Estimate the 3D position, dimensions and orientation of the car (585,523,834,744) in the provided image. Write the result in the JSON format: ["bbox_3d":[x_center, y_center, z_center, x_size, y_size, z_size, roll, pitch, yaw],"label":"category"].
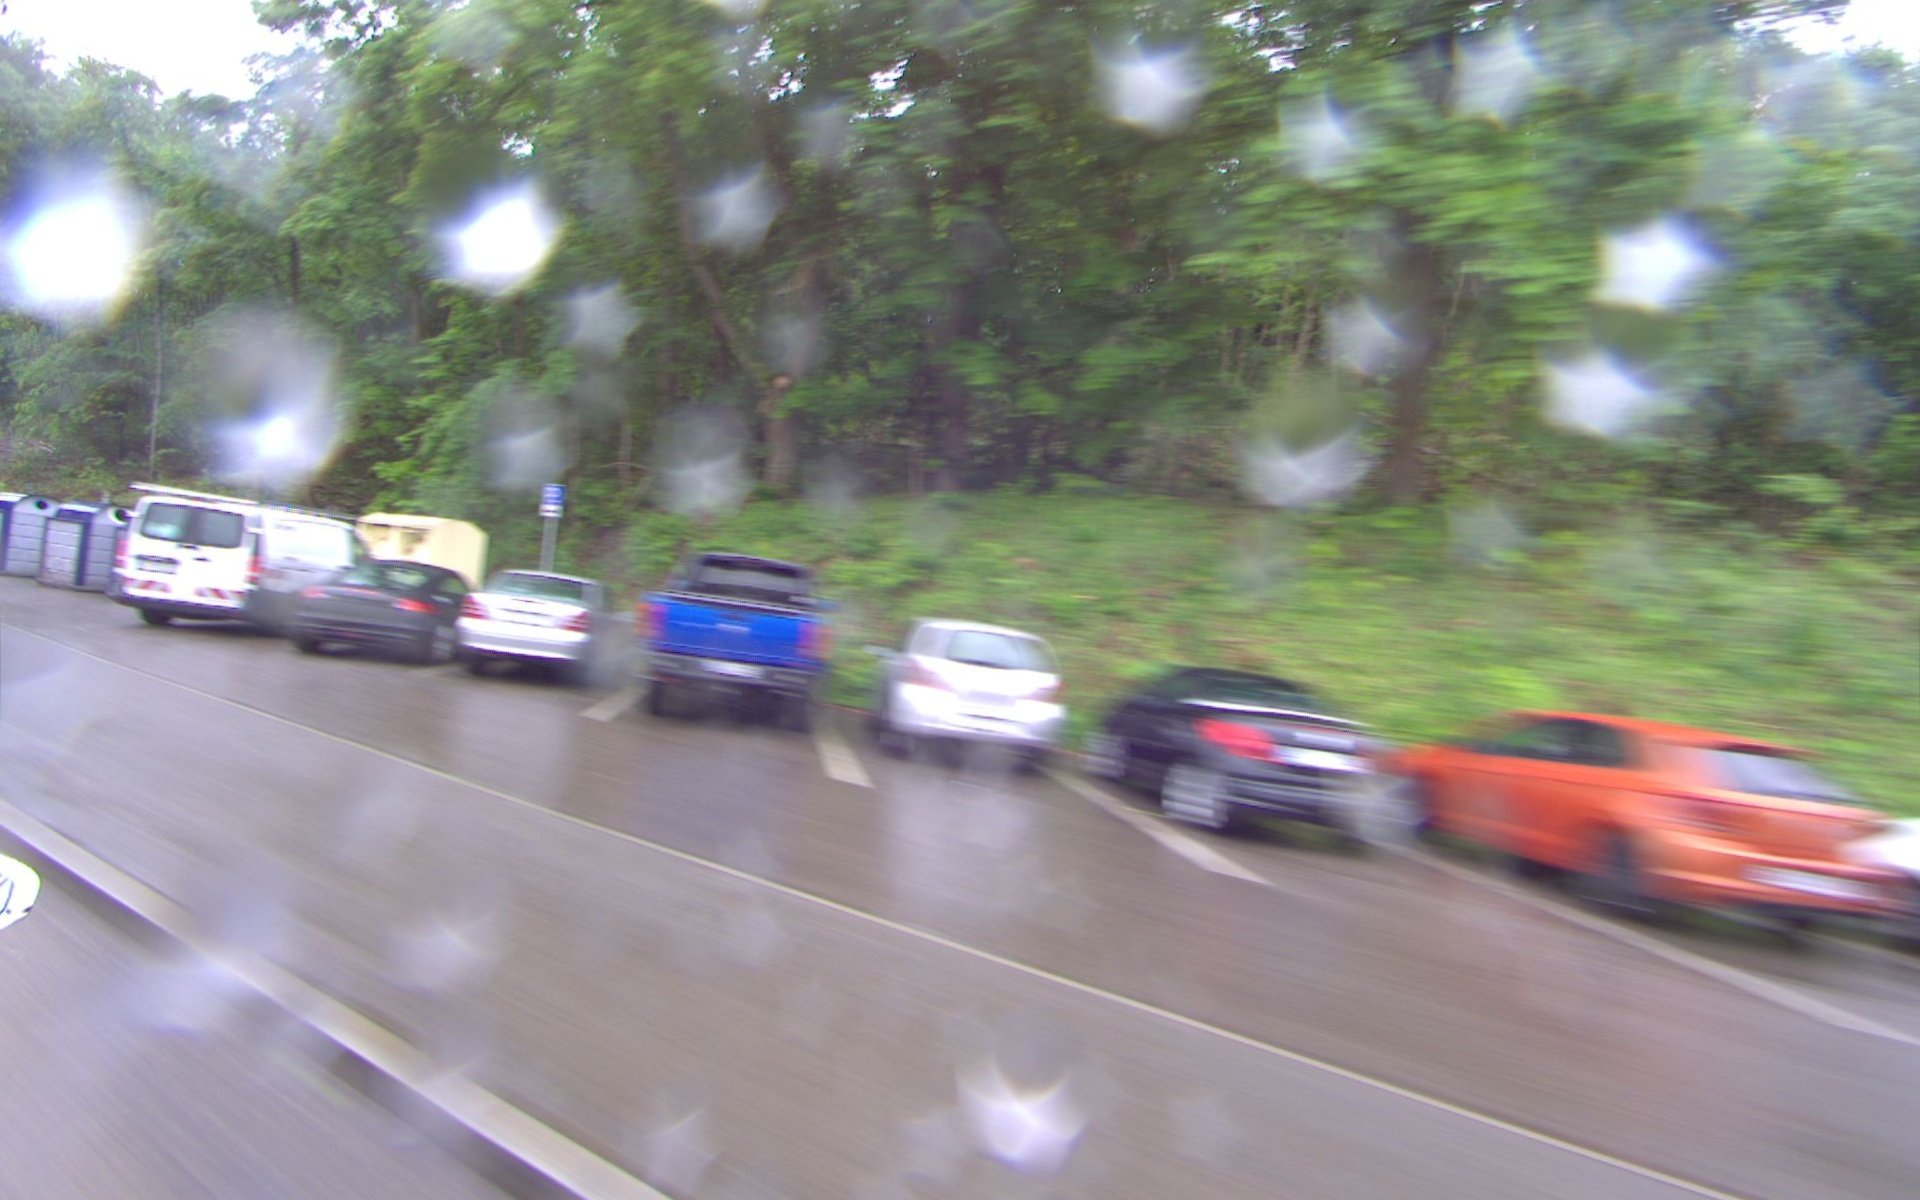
[{"bbox_3d":[-2.978,0.394,13.136,2.292,1.992,5.475,8,-1,-8],"label":"car"}]

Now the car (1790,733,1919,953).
[{"bbox_3d":[8.213,1.980,6.670,1.725,1.497,3.786,8,-1,-13],"label":"car"}]

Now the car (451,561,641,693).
[{"bbox_3d":[-5.693,0.356,14.326,1.600,1.429,3.988,8,-2,-11],"label":"car"}]

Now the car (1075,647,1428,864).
[{"bbox_3d":[2.564,1.344,9.892,1.689,1.418,3.838,8,-2,-10],"label":"car"}]

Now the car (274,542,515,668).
[{"bbox_3d":[-7.947,0.094,14.570,1.733,1.364,3.791,8,-2,-10],"label":"car"}]

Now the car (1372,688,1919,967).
[{"bbox_3d":[5.408,1.689,8.540,1.688,1.418,3.791,8,-2,-9],"label":"car"}]

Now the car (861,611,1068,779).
[{"bbox_3d":[-0.129,0.981,11.959,1.592,1.503,3.907,8,-2,-10],"label":"car"}]

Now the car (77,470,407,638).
[{"bbox_3d":[-10.925,-0.565,15.903,2.120,1.962,4.837,8,-2,-9],"label":"car"}]
